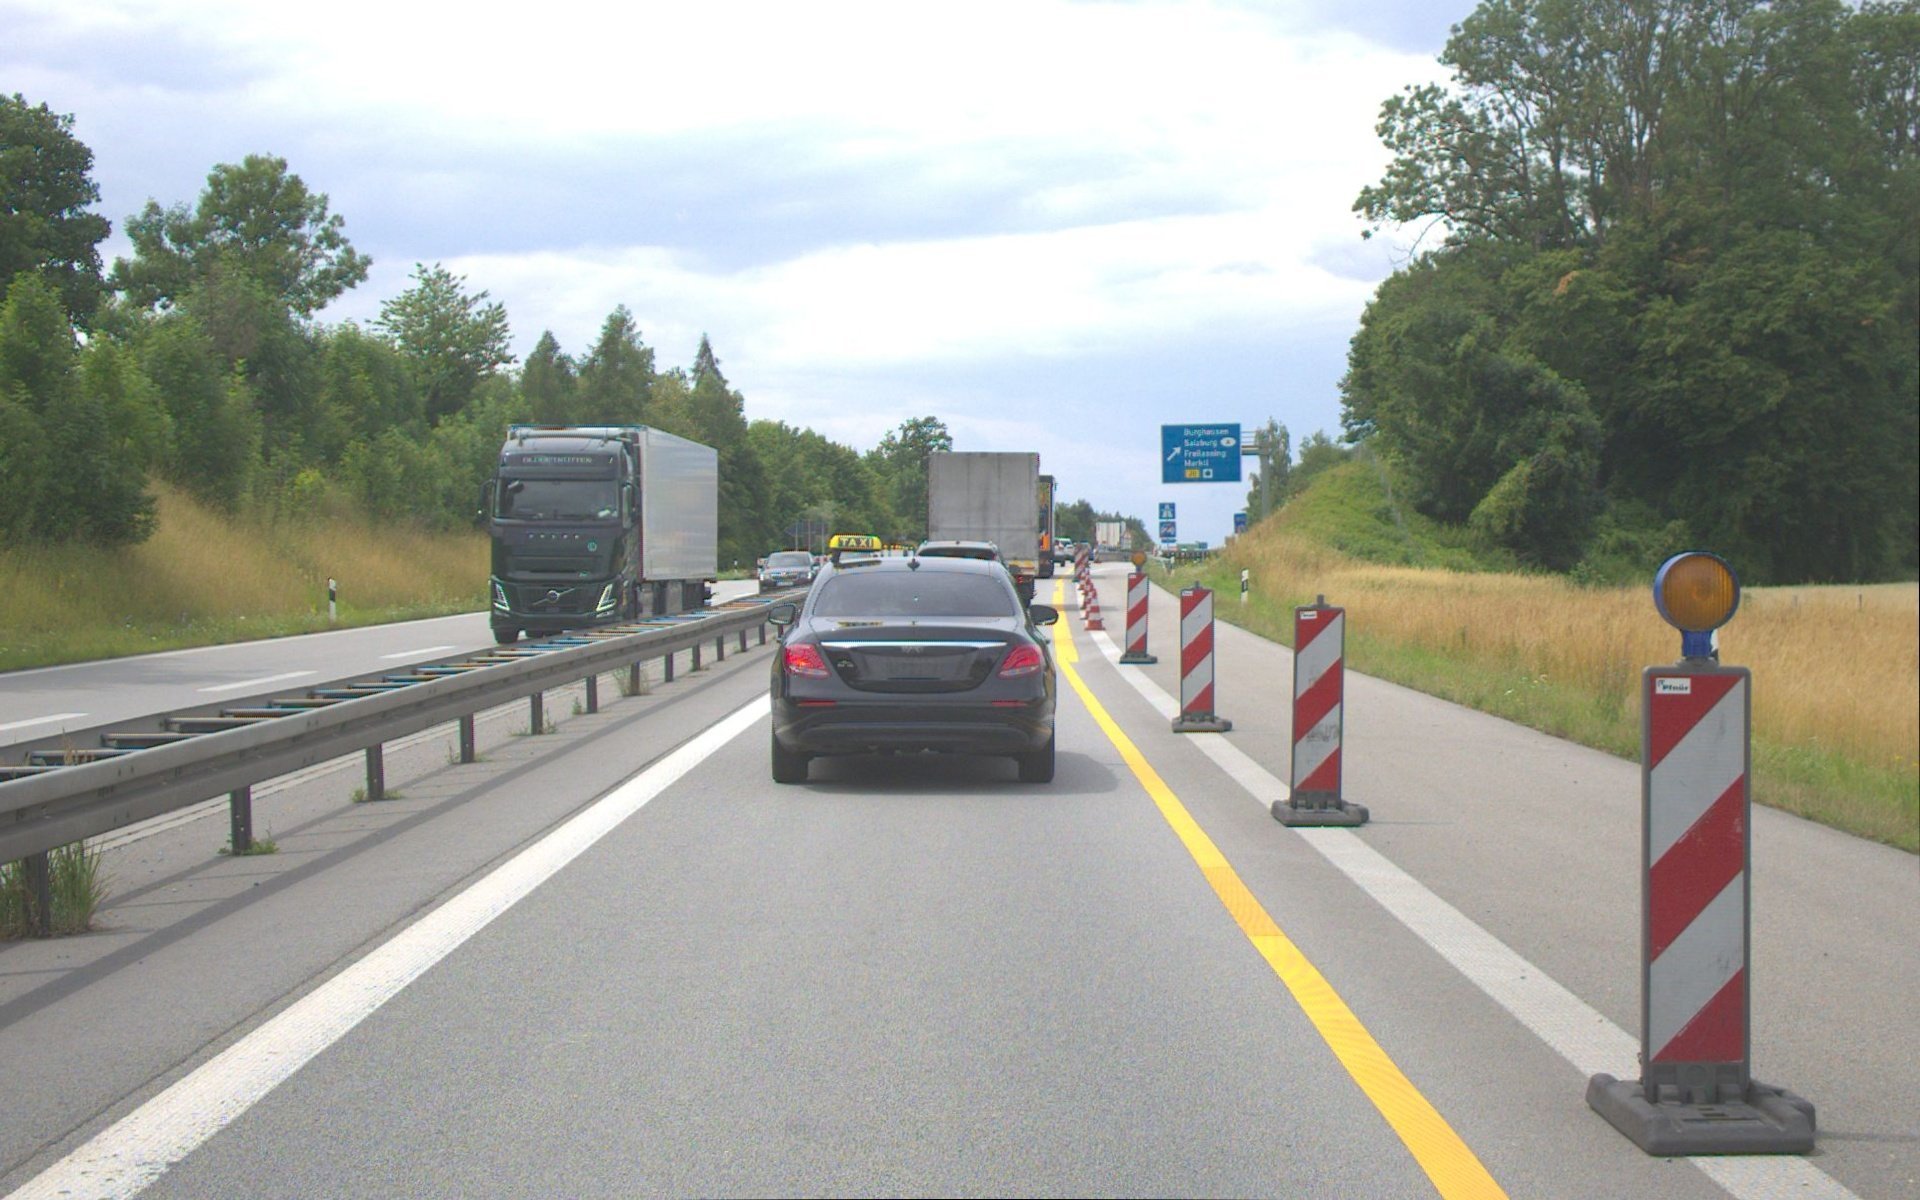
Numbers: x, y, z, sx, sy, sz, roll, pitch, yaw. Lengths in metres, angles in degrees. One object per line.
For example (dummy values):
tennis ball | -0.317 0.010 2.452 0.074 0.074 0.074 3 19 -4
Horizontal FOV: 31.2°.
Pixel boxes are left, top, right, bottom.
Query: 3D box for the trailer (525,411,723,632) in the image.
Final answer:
trailer | -6.832 -1.517 71.622 2.640 4.156 12.187 1 0 1

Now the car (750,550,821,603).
car | -5.527 -0.738 109.153 1.993 1.612 4.000 1 0 1

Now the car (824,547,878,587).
car | -4.458 -1.340 140.730 1.993 1.612 4.000 1 0 1

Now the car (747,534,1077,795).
car | -0.230 0.387 22.951 1.796 1.554 3.999 1 0 5

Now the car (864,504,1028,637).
car | -0.272 -0.465 55.054 1.993 2.007 4.001 1 0 -9

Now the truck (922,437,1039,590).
truck | 0.456 -2.020 82.421 2.586 3.512 4.813 1 0 -2

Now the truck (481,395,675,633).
truck | -7.025 -1.522 64.087 2.640 4.156 6.985 1 0 1
